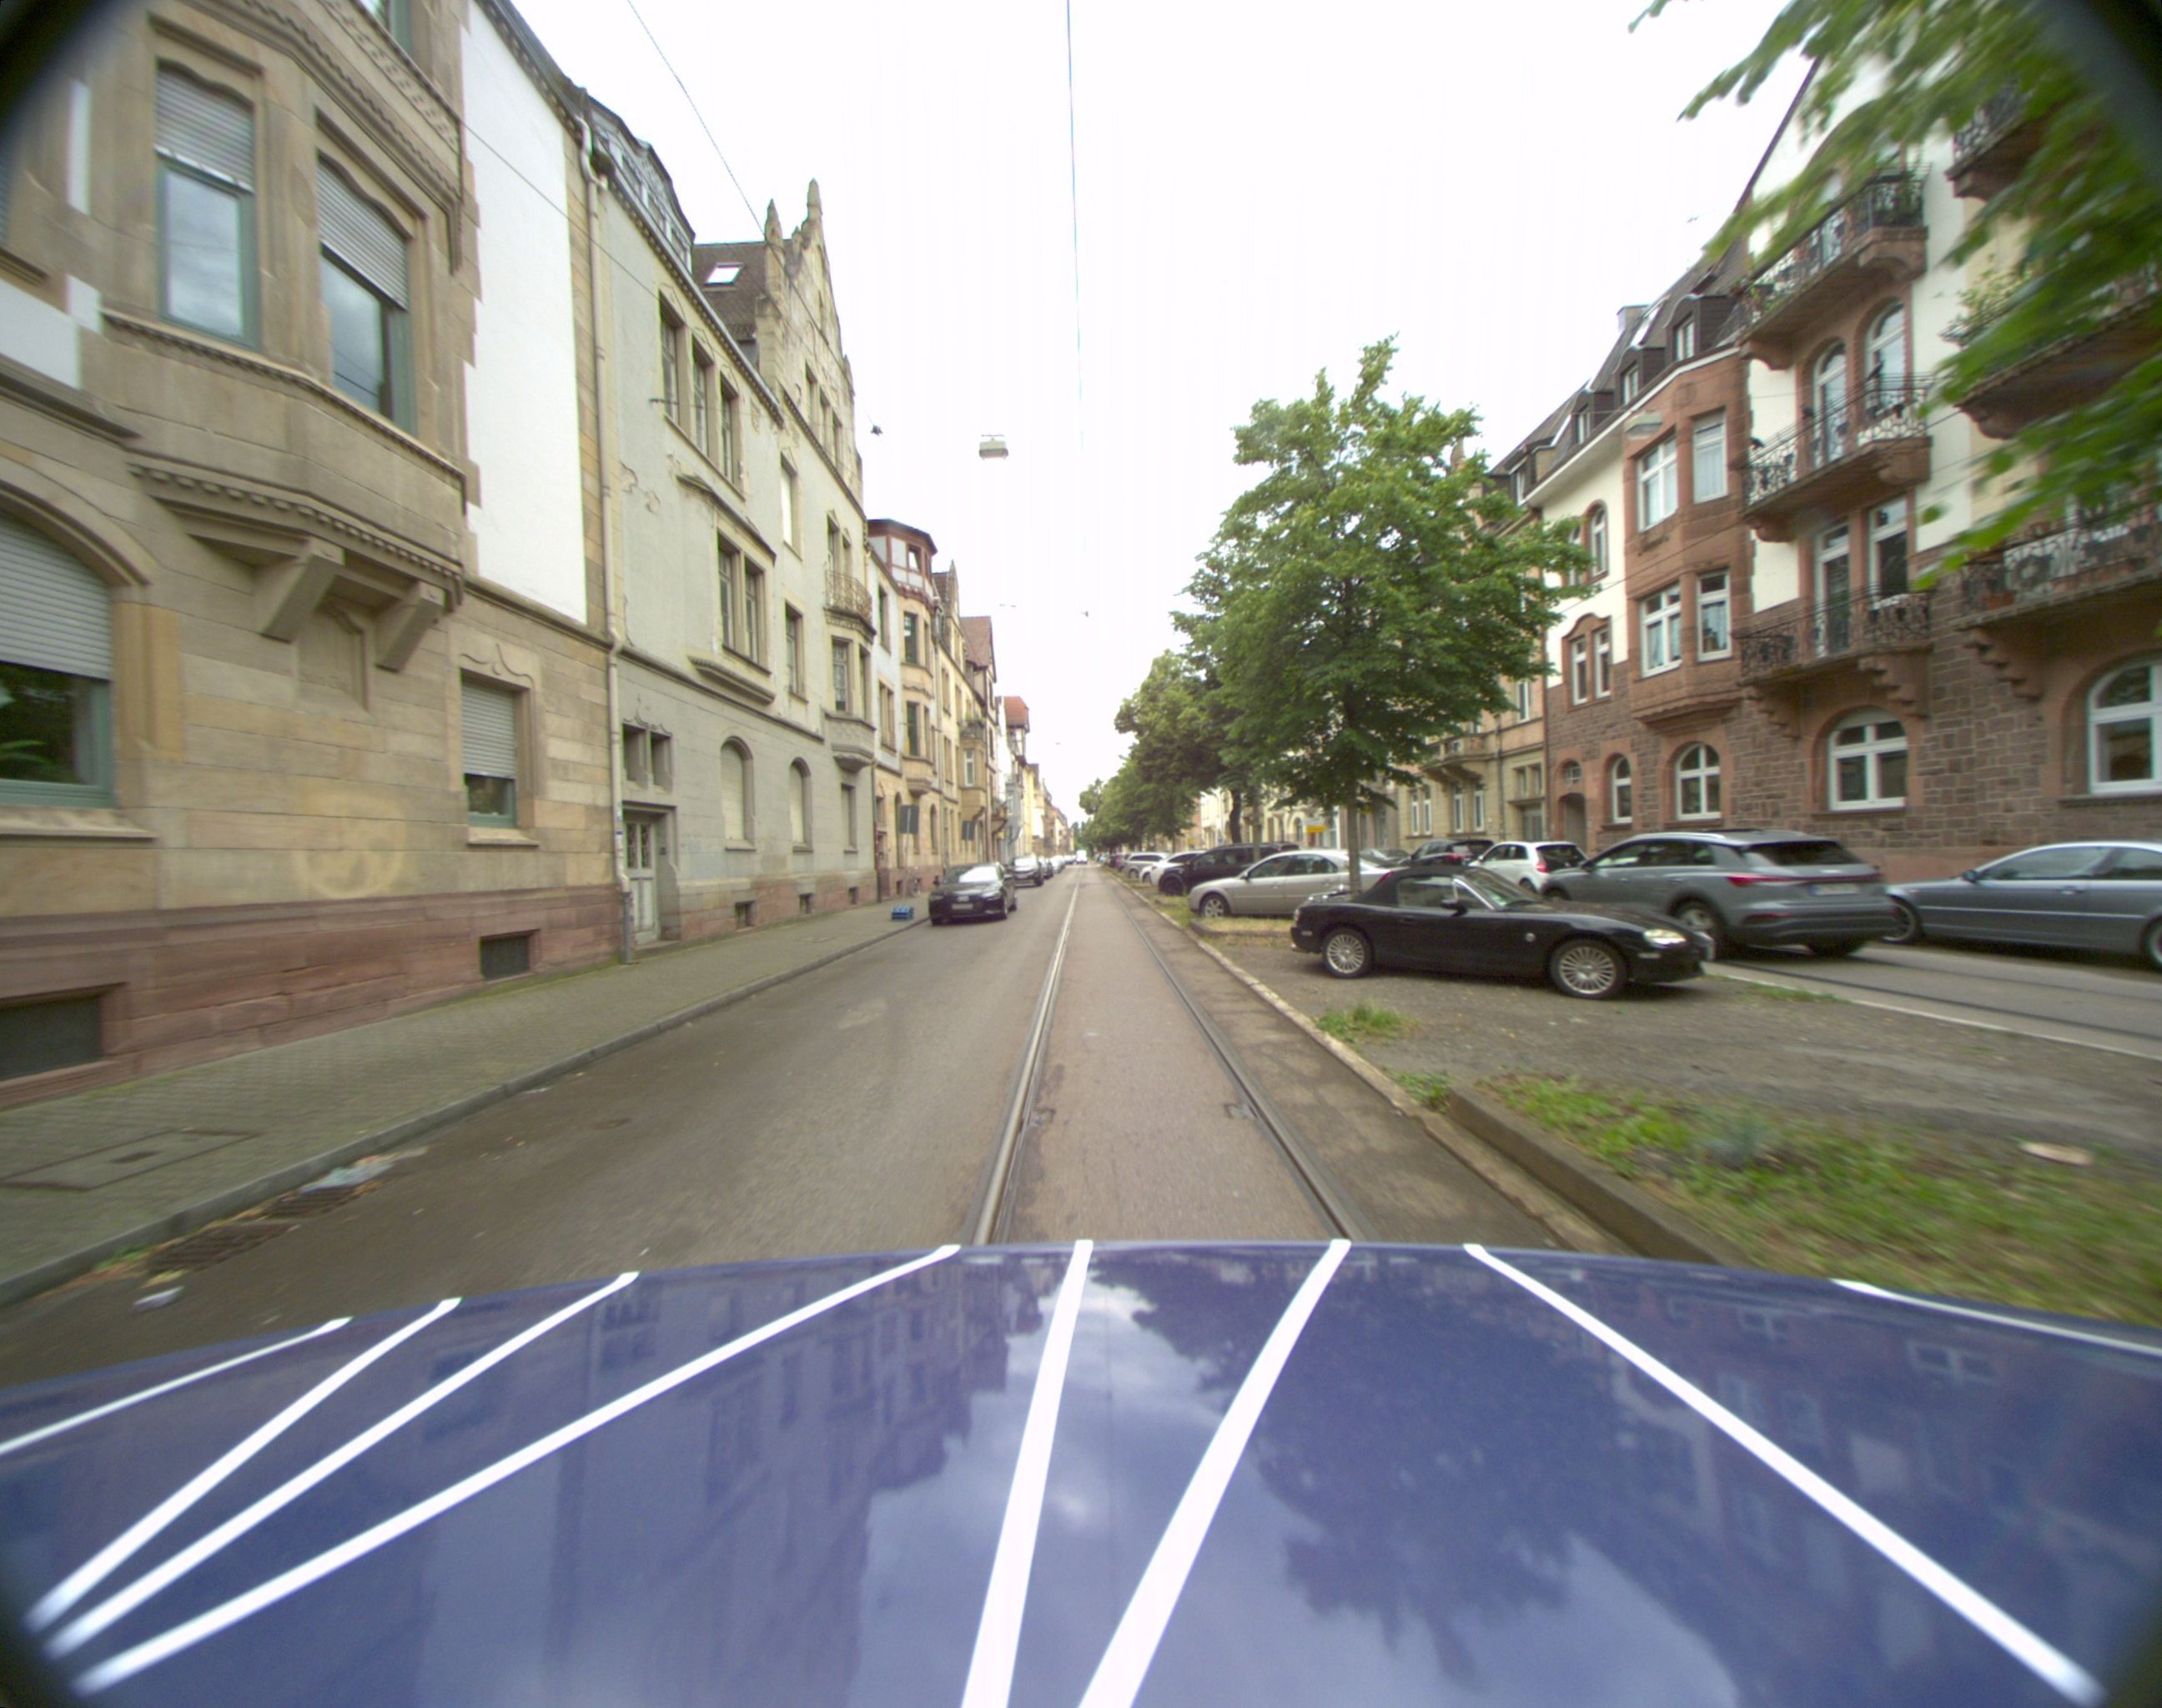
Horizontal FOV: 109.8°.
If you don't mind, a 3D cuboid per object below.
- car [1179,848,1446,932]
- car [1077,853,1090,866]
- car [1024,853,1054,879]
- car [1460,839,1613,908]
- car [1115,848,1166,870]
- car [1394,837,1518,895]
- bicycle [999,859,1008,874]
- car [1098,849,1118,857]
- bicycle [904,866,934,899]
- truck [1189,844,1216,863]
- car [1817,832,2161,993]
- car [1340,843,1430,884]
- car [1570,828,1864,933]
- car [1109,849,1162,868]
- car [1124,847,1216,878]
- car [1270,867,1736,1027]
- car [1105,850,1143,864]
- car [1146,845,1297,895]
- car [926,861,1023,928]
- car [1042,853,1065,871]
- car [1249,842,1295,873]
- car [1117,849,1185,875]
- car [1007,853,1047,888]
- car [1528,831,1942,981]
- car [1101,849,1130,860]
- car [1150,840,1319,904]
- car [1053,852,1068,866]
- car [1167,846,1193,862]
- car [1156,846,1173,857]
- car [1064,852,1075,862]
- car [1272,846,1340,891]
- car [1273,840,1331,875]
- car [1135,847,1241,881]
[{"bbox_3d":[4.372,0.660,14.880,4.655,1.360,1.761,-2,1,43],"label":"car"},{"bbox_3d":[0.392,0.911,127.891,1.998,2.002,3.999,-2,1,0],"label":"car"},{"bbox_3d":[-2.797,0.779,51.378,1.702,1.504,4.419,-5,0,-1],"label":"car"},{"bbox_3d":[11.538,0.436,19.560,1.666,1.551,3.722,-2,1,0],"label":"car"},{"bbox_3d":[4.719,0.380,60.508,1.678,1.518,3.803,-4,0,-45],"label":"car"},{"bbox_3d":[11.727,0.317,24.120,1.773,1.619,4.319,-2,1,0],"label":"car"},{"bbox_3d":[-5.721,0.915,56.002,0.422,1.091,1.588,3,0,0],"label":"bicycle"},{"bbox_3d":[5.981,-0.217,169.398,3.991,1.602,1.901,-2,-1,22],"label":"car"},{"bbox_3d":[-6.151,1.074,28.910,0.612,1.120,1.916,-5,0,0],"label":"bicycle"},{"bbox_3d":[12.454,-0.057,78.332,2.150,1.845,6.064,-2,0,4],"label":"truck"},{"bbox_3d":[11.452,0.549,8.643,1.745,1.533,4.553,-2,1,0],"label":"car"},{"bbox_3d":[11.865,0.326,29.987,1.809,1.430,4.229,-2,1,0],"label":"car"},{"bbox_3d":[11.671,0.400,14.462,1.745,1.617,4.553,-2,1,0],"label":"car"},{"bbox_3d":[4.890,0.415,68.093,1.889,1.458,4.595,-3,0,-44],"label":"car"},{"bbox_3d":[4.598,0.468,39.801,1.867,1.484,4.552,-4,1,-44],"label":"car"},{"bbox_3d":[4.191,0.797,7.977,3.952,1.195,1.671,-2,1,44],"label":"car"},{"bbox_3d":[4.843,0.350,86.013,3.989,1.407,1.902,-2,-1,39],"label":"car"},{"bbox_3d":[4.607,0.522,25.305,4.529,1.482,2.040,-1,1,45],"label":"car"},{"bbox_3d":[-2.687,0.975,20.429,1.805,1.430,5.195,-2,0,0],"label":"car"},{"bbox_3d":[-2.586,0.778,72.399,1.793,1.504,4.213,-5,0,1],"label":"car"},{"bbox_3d":[12.136,0.195,48.643,1.855,1.860,4.431,-2,0,1],"label":"car"},{"bbox_3d":[4.607,0.510,50.332,4.195,1.600,1.728,-1,2,42],"label":"car"},{"bbox_3d":[-2.743,0.793,39.340,1.764,1.613,4.694,-2,0,-1],"label":"car"},{"bbox_3d":[8.469,0.539,10.548,1.809,1.570,4.546,-2,1,0],"label":"car"},{"bbox_3d":[5.369,0.099,117.344,3.989,1.602,1.902,-2,-1,31],"label":"car"},{"bbox_3d":[4.344,0.504,22.017,4.520,1.624,1.769,-1,1,45],"label":"car"},{"bbox_3d":[-2.518,0.585,93.883,1.635,1.520,4.212,-3,1,0],"label":"car"},{"bbox_3d":[9.263,-0.032,71.210,1.809,1.444,4.651,-2,1,0],"label":"car"},{"bbox_3d":[12.648,-0.380,115.172,1.796,1.596,4.512,-2,0,-2],"label":"car"},{"bbox_3d":[-1.939,0.481,129.344,1.676,1.520,4.212,-3,1,0],"label":"car"},{"bbox_3d":[8.260,0.496,28.083,1.608,1.506,2.892,-2,1,0],"label":"car"},{"bbox_3d":[11.803,0.154,40.868,1.809,1.670,4.272,-2,1,0],"label":"car"},{"bbox_3d":[4.524,0.448,32.567,4.119,1.304,1.867,-3,1,44],"label":"car"}]
